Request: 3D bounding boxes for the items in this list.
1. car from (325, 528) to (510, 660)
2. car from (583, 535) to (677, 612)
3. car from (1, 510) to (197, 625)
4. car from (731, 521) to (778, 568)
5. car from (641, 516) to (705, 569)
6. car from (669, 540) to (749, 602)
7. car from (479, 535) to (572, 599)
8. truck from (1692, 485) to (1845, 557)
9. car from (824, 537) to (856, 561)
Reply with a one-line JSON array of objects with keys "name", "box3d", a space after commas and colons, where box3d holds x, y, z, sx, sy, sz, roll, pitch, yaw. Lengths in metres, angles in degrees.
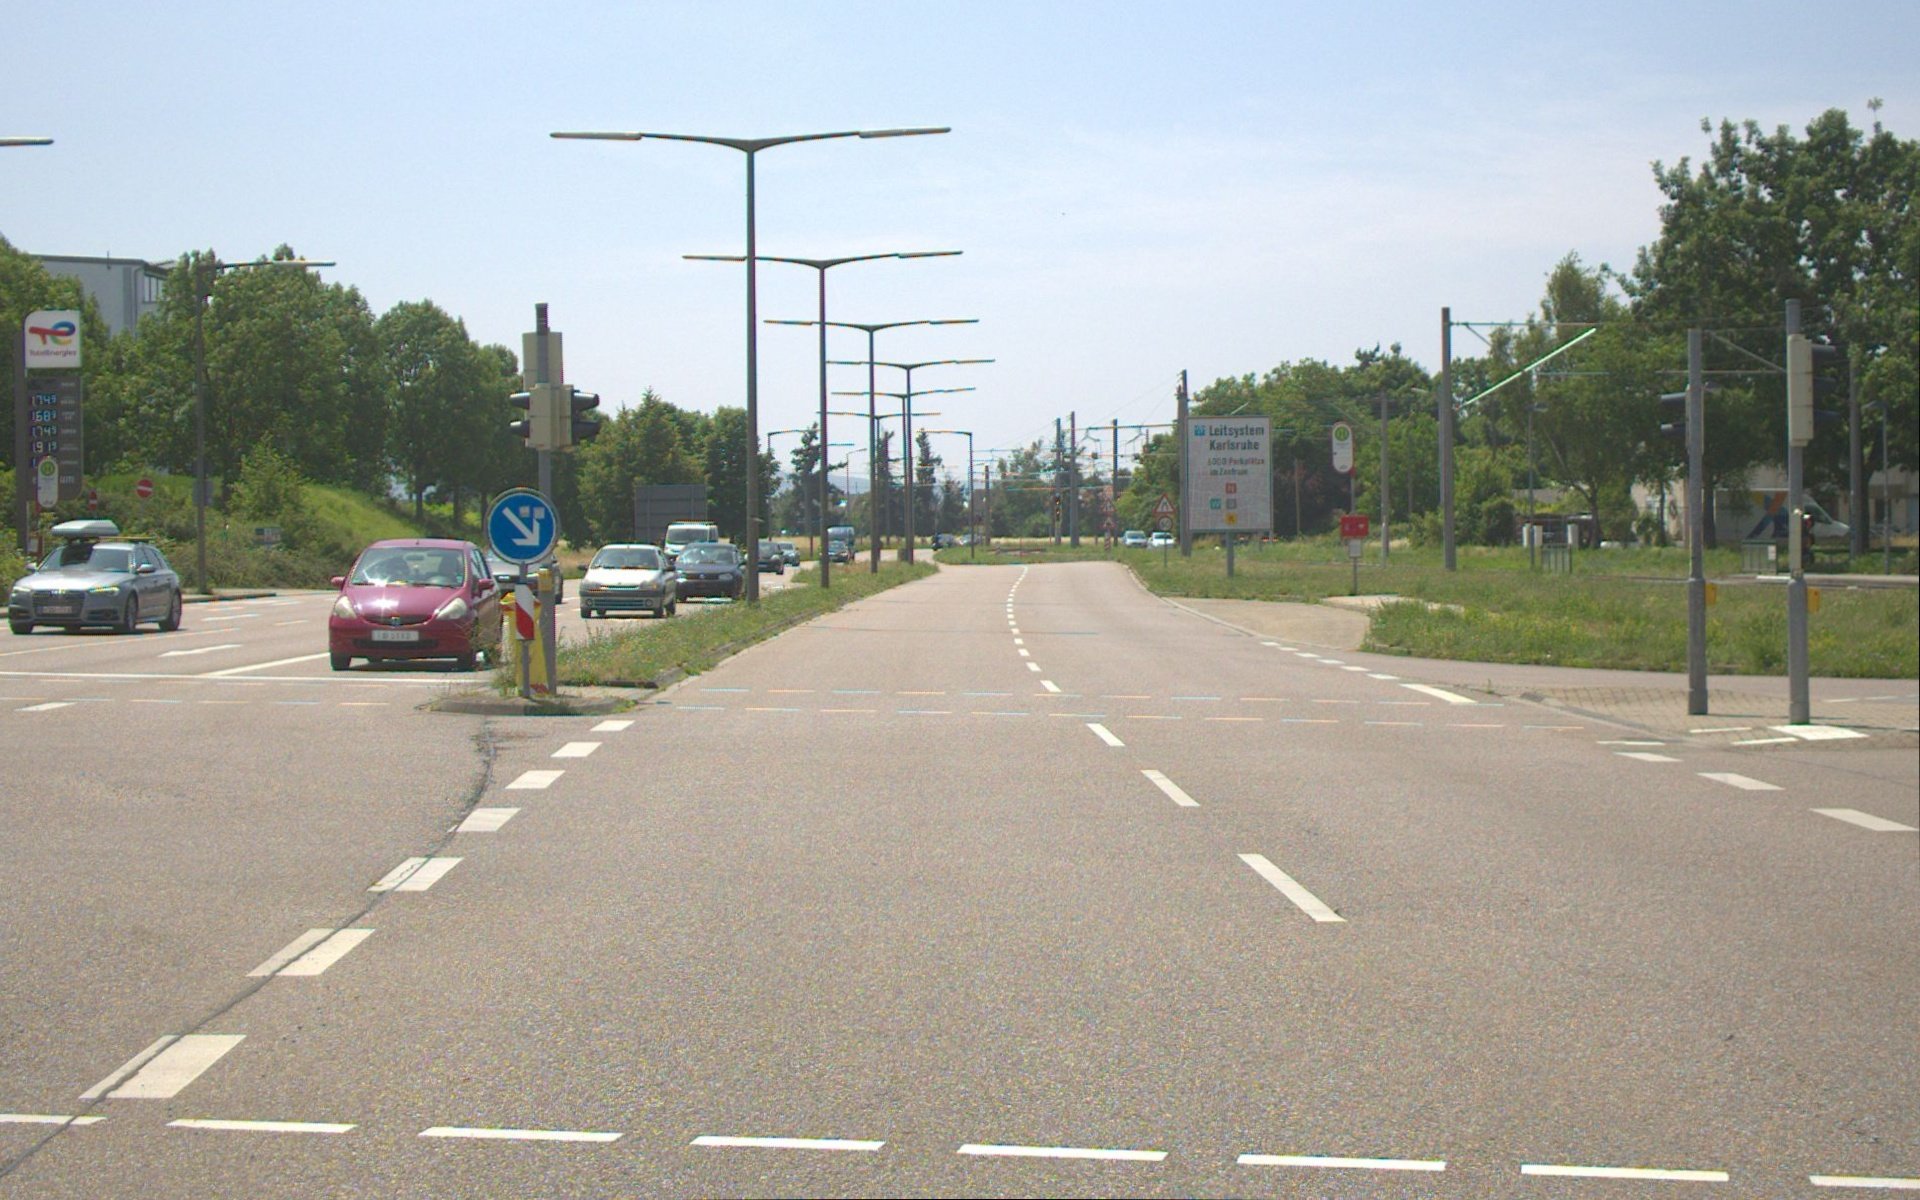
[{"name": "car", "box3d": [-6.433, -0.106, 41.081, 1.658, 1.485, 4.000, 0, 1, -1]}, {"name": "car", "box3d": [-6.452, -0.539, 67.496, 1.560, 1.418, 3.854, 0, 2, -1]}, {"name": "car", "box3d": [-13.668, -0.555, 54.857, 1.964, 1.744, 5.023, 0, 1, -1]}, {"name": "car", "box3d": [-8.952, -2.393, 149.483, 1.993, 2.007, 4.001, 1, 0, -4]}, {"name": "car", "box3d": [-12.691, -2.535, 152.298, 2.249, 2.265, 5.449, 1, 1, 1]}, {"name": "car", "box3d": [-5.988, -0.713, 82.414, 1.675, 1.429, 4.191, 0, 1, -1]}, {"name": "car", "box3d": [-10.037, -0.781, 79.575, 1.637, 1.424, 4.052, 0, 1, 0]}, {"name": "truck", "box3d": [34.686, -3.389, 147.603, 5.839, 2.833, 2.321, -2, 1, -7]}, {"name": "car", "box3d": [-7.585, -3.217, 217.952, 1.731, 1.453, 4.564, -1, 1, 2]}]
